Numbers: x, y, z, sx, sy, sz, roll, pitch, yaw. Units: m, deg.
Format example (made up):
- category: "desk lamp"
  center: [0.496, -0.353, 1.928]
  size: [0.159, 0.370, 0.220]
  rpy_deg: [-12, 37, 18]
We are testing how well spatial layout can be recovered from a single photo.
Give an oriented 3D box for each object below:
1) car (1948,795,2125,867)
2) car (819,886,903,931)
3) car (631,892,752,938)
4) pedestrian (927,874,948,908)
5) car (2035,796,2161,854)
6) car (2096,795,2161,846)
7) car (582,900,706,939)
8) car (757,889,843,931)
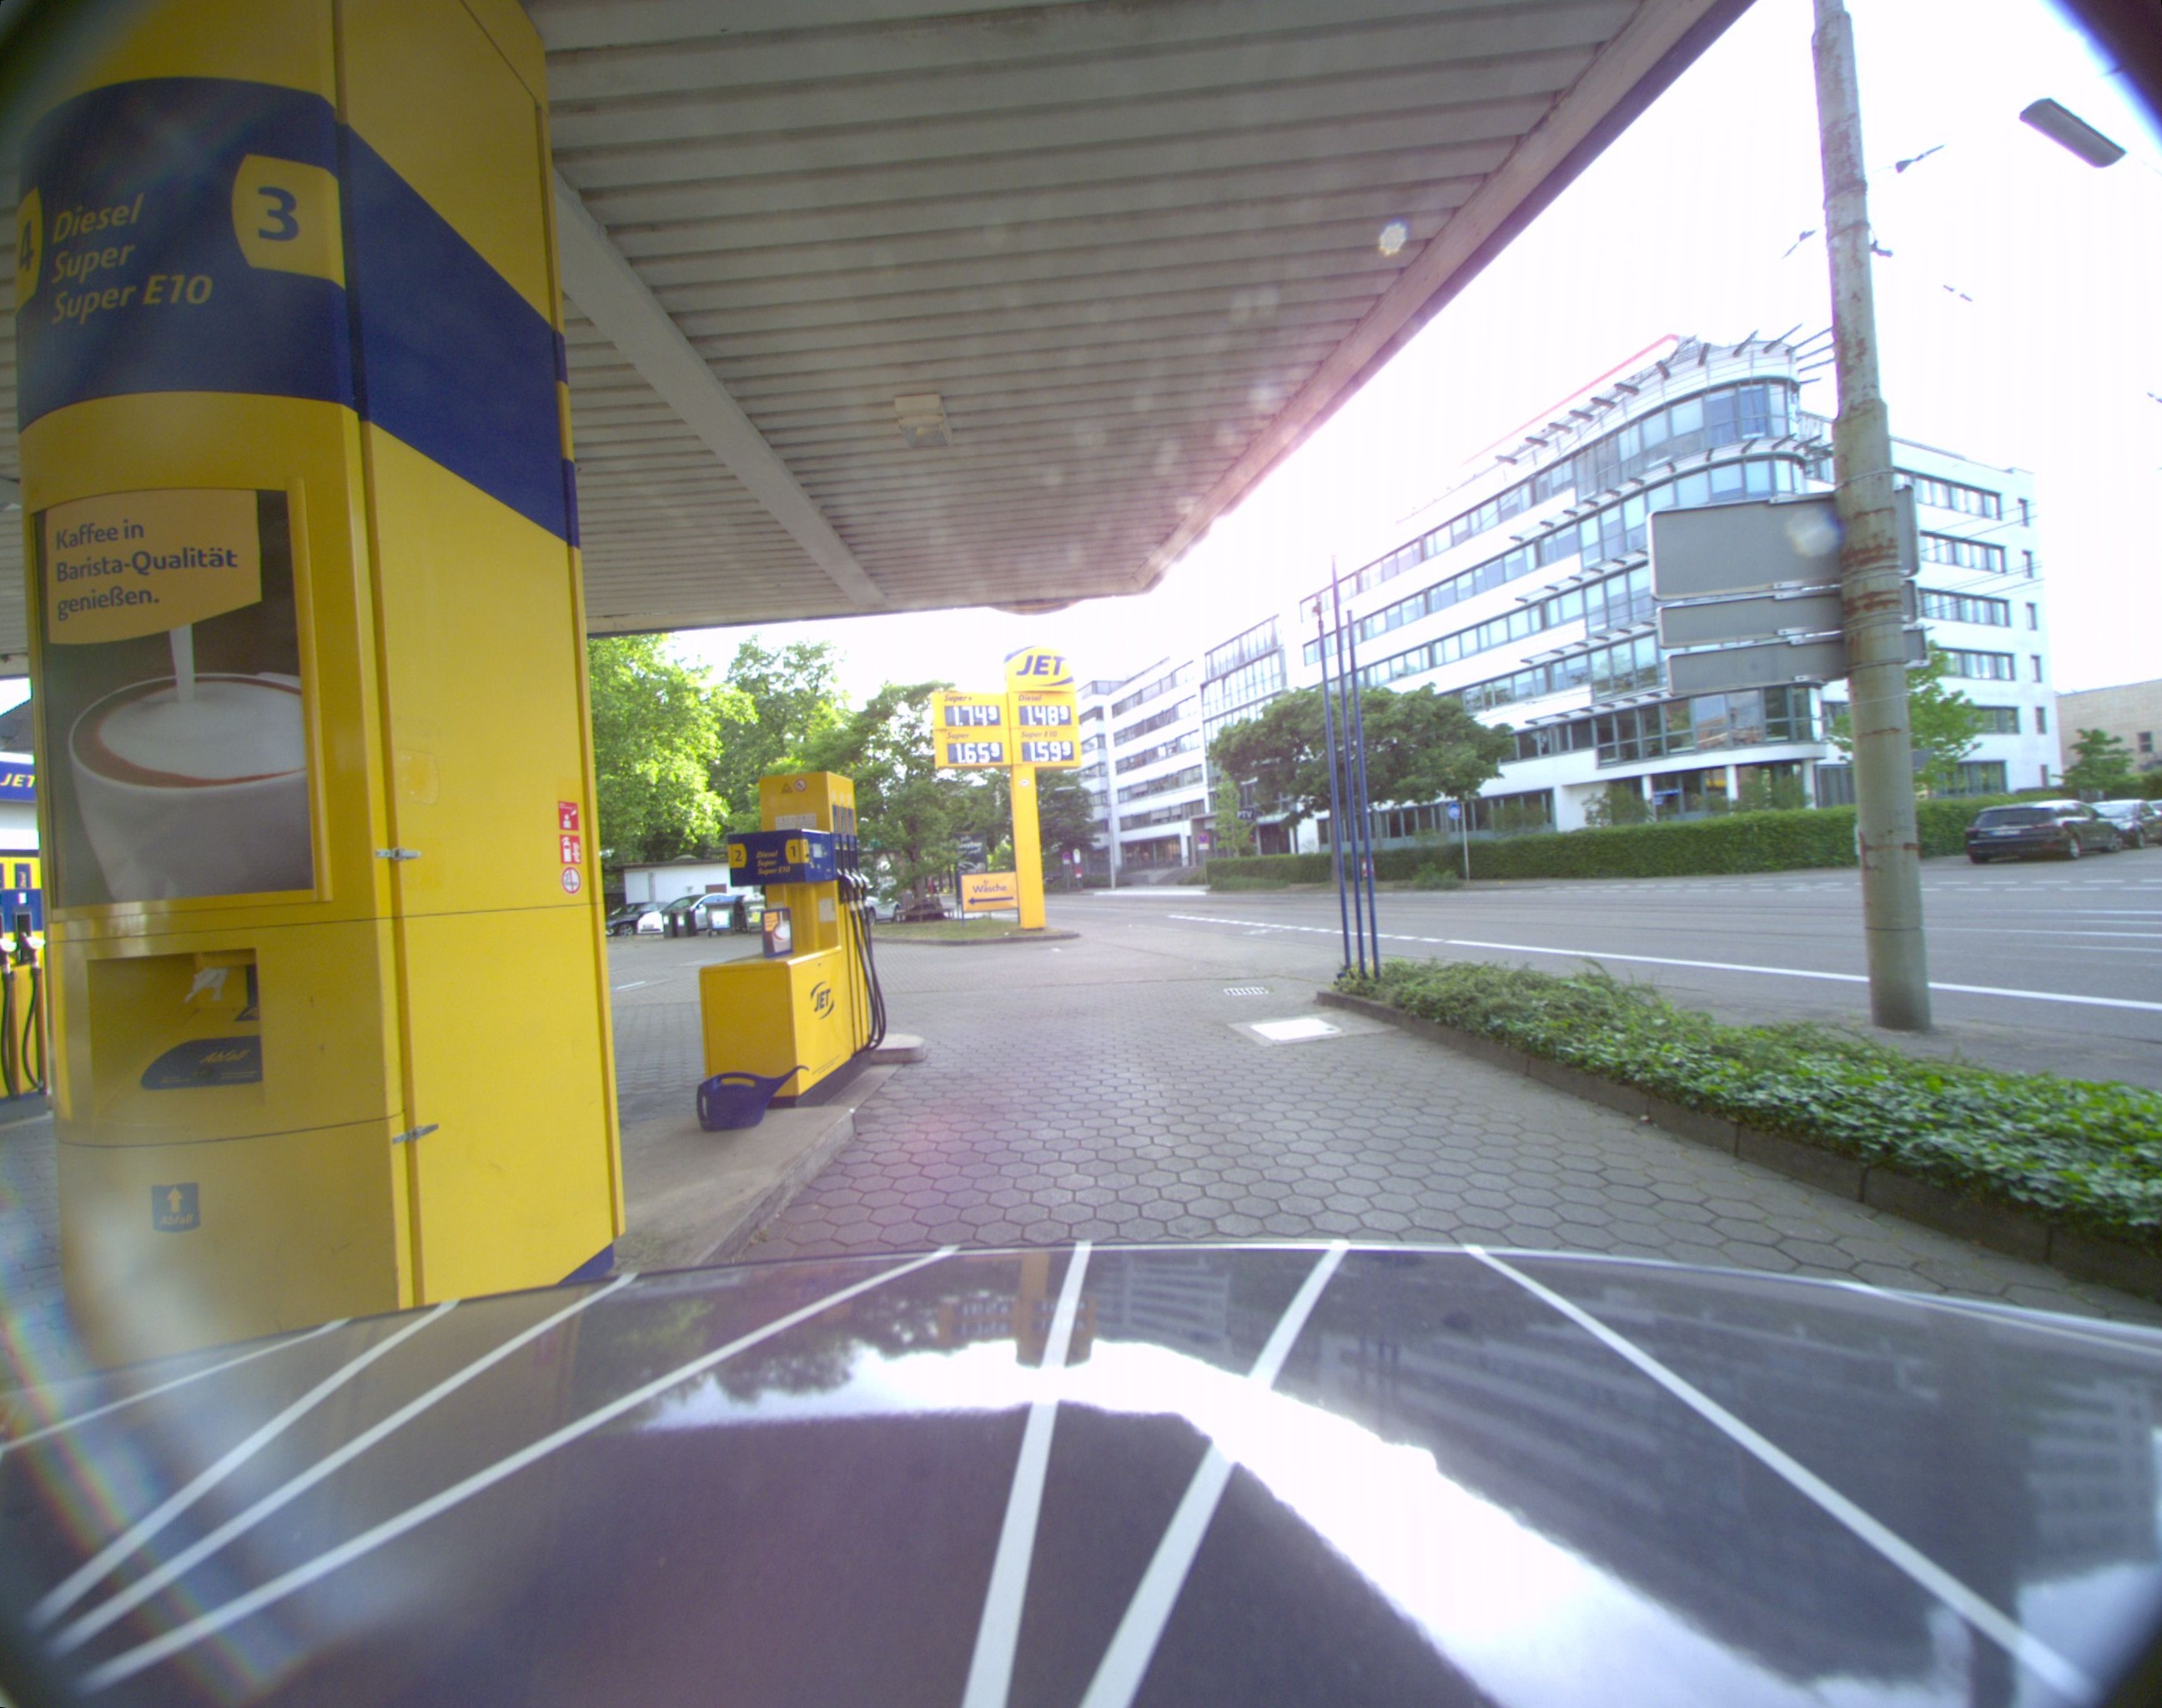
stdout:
- category: "car"
  center: [27.373, -0.648, 21.770]
  size: [4.438, 1.603, 1.976]
  rpy_deg: [-5, -1, -23]
- category: "car"
  center: [-8.689, 2.119, 30.382]
  size: [1.739, 1.500, 4.003]
  rpy_deg: [-4, -2, 6]
- category: "car"
  center: [-15.363, 2.386, 30.256]
  size: [1.785, 1.514, 4.229]
  rpy_deg: [-4, -3, 17]
- category: "pedestrian"
  center: [-8.849, 2.275, 46.821]
  size: [0.934, 2.001, 1.214]
  rpy_deg: [-2, -1, -24]
- category: "car"
  center: [32.488, -0.940, 24.041]
  size: [4.109, 1.544, 1.786]
  rpy_deg: [-4, -1, -23]
- category: "car"
  center: [37.148, -1.234, 26.079]
  size: [4.109, 1.544, 1.786]
  rpy_deg: [-4, -1, -23]
- category: "car"
  center: [-17.749, 2.635, 31.072]
  size: [1.745, 1.269, 4.230]
  rpy_deg: [-5, -3, 19]
- category: "car"
  center: [-11.805, 2.326, 32.244]
  size: [1.739, 1.500, 4.004]
  rpy_deg: [-4, -2, 6]
